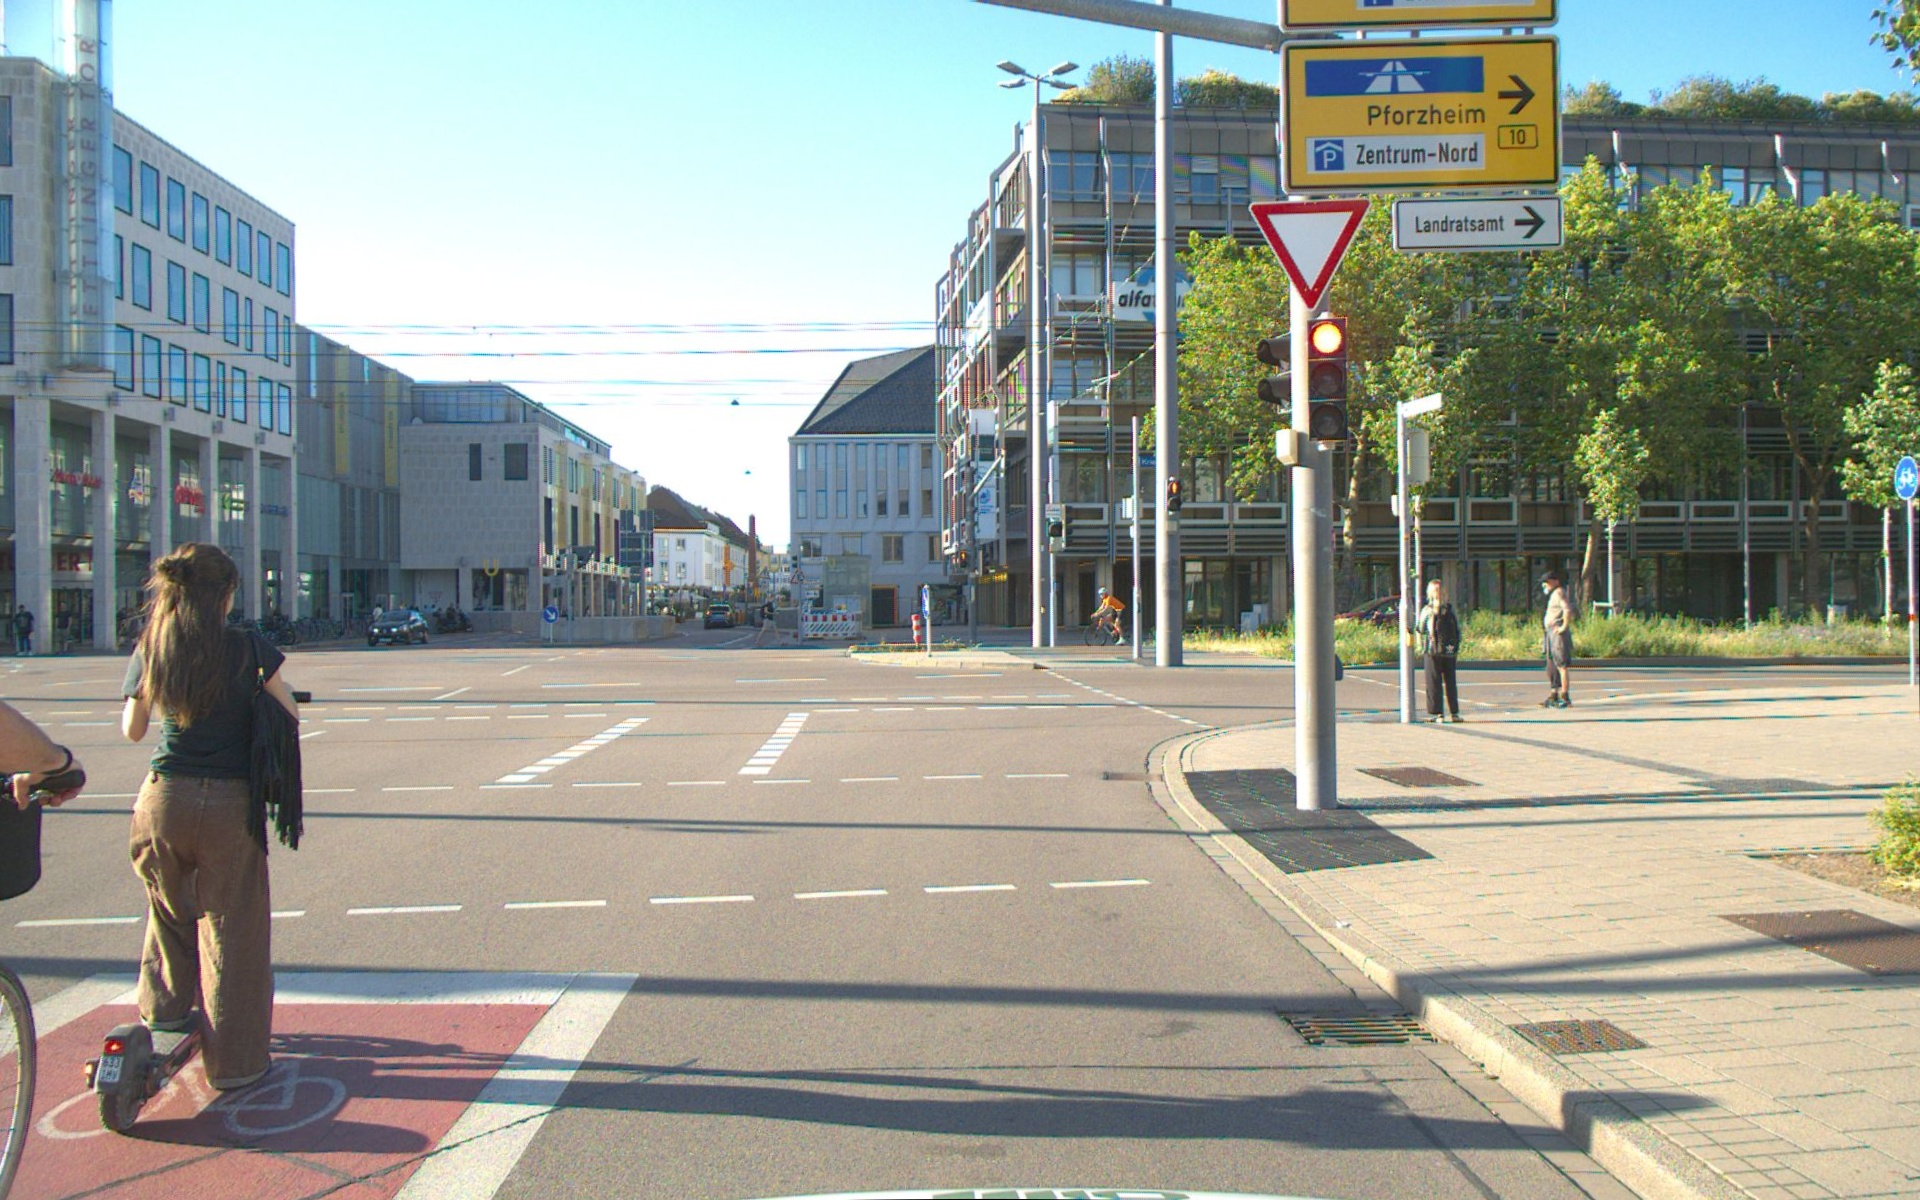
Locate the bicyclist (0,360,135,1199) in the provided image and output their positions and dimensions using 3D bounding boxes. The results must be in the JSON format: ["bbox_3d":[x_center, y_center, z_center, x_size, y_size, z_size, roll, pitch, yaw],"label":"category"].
[{"bbox_3d":[-1.976,0.460,2.848,0.647,1.750,0.865,1,-1,-1],"label":"bicyclist"}]

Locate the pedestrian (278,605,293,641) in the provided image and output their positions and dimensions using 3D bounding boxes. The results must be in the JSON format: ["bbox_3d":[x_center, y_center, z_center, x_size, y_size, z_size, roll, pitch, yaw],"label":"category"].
[{"bbox_3d":[-32.393,1.091,79.455,0.544,1.709,0.606,1,0,-11],"label":"pedestrian"}]

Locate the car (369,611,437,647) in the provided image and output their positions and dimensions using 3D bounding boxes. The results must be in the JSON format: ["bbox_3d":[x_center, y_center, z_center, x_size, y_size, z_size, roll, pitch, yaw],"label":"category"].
[{"bbox_3d":[-23.376,1.206,69.481,1.597,1.365,3.998,-3,0,-3],"label":"car"}]

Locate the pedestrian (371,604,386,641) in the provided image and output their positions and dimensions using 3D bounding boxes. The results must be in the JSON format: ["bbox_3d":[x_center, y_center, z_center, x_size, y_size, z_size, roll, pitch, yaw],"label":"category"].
[{"bbox_3d":[-27.843,1.072,79.248,0.639,1.749,0.447,0,0,-25],"label":"pedestrian"}]

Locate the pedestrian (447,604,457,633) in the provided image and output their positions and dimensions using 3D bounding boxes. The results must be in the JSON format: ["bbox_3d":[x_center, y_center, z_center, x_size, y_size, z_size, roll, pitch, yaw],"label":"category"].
[{"bbox_3d":[-30.096,1.073,98.075,0.512,1.709,0.581,1,0,-14],"label":"pedestrian"}]

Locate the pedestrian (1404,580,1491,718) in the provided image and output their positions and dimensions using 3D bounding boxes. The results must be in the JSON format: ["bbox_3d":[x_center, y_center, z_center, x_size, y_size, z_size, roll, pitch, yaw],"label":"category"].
[{"bbox_3d":[5.517,0.546,18.745,0.772,1.518,0.644,1,-1,-1],"label":"pedestrian"}]

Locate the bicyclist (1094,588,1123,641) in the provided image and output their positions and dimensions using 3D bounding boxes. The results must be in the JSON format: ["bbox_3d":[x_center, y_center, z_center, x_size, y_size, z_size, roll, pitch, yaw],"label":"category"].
[{"bbox_3d":[4.189,0.403,46.706,0.698,1.462,0.496,1,-1,-10],"label":"bicyclist"}]

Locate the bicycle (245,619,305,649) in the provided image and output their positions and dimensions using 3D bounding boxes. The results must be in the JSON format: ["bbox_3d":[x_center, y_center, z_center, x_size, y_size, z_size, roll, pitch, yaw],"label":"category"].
[{"bbox_3d":[-29.288,1.436,70.753,2.260,1.244,0.611,0,0,-3],"label":"bicycle"}]

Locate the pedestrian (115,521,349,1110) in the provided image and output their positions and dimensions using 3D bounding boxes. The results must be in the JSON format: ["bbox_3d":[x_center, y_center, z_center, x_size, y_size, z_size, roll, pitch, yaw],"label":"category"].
[{"bbox_3d":[-2.186,0.612,5.024,0.540,1.661,0.569,1,-1,-16],"label":"pedestrian"}]

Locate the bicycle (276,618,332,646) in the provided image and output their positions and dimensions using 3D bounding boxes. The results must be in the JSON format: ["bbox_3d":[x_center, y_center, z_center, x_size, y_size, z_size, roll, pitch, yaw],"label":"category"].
[{"bbox_3d":[-29.602,1.447,74.694,2.260,1.244,0.611,0,0,-3],"label":"bicycle"}]

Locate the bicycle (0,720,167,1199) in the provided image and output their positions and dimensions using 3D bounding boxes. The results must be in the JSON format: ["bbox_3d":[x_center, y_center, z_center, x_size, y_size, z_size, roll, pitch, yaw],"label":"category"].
[{"bbox_3d":[-2.080,0.864,2.923,0.475,1.176,1.831,1,0,-1],"label":"bicycle"}]

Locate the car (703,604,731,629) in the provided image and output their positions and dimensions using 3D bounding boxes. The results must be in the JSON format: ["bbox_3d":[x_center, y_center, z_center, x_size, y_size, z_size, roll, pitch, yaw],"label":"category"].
[{"bbox_3d":[-15.822,1.057,107.942,1.705,1.558,3.849,1,0,-8],"label":"car"}]

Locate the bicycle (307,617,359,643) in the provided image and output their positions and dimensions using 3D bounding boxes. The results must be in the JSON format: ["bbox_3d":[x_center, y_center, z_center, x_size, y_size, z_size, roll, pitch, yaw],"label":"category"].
[{"bbox_3d":[-30.332,1.458,80.048,2.260,1.244,0.611,0,0,-3],"label":"bicycle"}]

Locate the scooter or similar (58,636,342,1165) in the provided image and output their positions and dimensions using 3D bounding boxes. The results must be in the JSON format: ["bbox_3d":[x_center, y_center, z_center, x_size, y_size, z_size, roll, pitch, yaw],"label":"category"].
[{"bbox_3d":[-2.176,0.781,4.856,0.538,1.316,1.189,1,0,-15],"label":"scooter or similar"}]

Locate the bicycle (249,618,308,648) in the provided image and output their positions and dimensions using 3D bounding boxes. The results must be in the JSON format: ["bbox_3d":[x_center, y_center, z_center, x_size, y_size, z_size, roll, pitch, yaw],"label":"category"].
[{"bbox_3d":[-29.502,1.436,71.630,2.260,1.244,0.611,0,0,-3],"label":"bicycle"}]

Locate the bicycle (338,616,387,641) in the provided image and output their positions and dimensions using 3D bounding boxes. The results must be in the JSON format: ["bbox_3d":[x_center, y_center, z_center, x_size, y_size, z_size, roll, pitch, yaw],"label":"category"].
[{"bbox_3d":[-30.813,1.473,85.335,2.260,1.244,0.611,0,0,-3],"label":"bicycle"}]

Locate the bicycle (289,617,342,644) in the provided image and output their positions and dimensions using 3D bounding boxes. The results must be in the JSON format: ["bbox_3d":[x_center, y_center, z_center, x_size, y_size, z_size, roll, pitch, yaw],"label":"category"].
[{"bbox_3d":[-30.712,1.446,78.815,2.260,1.244,0.611,0,0,-3],"label":"bicycle"}]

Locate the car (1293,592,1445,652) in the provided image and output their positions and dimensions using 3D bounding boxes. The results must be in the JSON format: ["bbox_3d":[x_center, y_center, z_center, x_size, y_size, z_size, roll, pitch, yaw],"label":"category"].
[{"bbox_3d":[11.423,0.602,46.281,3.812,1.613,1.656,-1,0,-8],"label":"car"}]

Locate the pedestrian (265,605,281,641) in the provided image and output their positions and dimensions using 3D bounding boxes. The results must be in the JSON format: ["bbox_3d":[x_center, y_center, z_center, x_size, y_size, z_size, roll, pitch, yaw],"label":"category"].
[{"bbox_3d":[-32.961,1.103,79.351,0.560,1.709,0.614,1,0,-10],"label":"pedestrian"}]

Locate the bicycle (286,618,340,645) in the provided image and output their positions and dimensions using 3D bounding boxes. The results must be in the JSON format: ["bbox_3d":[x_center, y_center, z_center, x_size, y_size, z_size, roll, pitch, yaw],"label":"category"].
[{"bbox_3d":[-30.062,1.449,76.845,2.260,1.244,0.611,0,0,-3],"label":"bicycle"}]

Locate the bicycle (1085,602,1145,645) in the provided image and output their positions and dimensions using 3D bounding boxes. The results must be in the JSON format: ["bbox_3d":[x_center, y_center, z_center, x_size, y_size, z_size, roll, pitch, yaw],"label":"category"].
[{"bbox_3d":[4.378,0.660,46.742,1.615,1.175,0.496,1,-1,-10],"label":"bicycle"}]

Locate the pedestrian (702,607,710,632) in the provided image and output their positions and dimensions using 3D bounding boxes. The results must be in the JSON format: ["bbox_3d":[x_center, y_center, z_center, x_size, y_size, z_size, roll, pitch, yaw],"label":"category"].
[{"bbox_3d":[-17.903,1.360,116.783,0.511,1.709,0.582,1,0,-8],"label":"pedestrian"}]

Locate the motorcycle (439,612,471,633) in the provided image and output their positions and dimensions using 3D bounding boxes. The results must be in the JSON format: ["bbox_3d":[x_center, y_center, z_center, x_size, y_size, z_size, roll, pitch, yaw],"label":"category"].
[{"bbox_3d":[-29.758,1.327,97.472,1.775,1.228,0.509,1,0,-16],"label":"motorcycle"}]

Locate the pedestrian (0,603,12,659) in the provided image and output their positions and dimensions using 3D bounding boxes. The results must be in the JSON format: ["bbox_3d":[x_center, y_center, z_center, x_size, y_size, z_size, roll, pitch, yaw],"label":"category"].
[{"bbox_3d":[-32.998,1.051,56.804,0.706,1.918,0.780,1,-1,-28],"label":"pedestrian"}]

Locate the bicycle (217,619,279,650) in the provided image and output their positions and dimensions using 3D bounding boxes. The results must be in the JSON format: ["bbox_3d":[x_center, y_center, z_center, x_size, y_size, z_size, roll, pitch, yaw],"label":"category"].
[{"bbox_3d":[-29.331,1.424,68.113,2.260,1.244,0.611,0,0,-3],"label":"bicycle"}]

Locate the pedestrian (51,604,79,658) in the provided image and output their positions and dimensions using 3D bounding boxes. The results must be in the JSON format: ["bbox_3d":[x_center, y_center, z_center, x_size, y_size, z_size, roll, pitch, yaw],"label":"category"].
[{"bbox_3d":[-31.169,1.069,57.600,0.788,1.876,0.854,0,0,-33],"label":"pedestrian"}]

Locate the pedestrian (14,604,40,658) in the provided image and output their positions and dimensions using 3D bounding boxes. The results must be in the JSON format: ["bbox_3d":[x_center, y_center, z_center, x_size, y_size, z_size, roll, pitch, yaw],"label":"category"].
[{"bbox_3d":[-32.860,1.077,58.260,0.787,1.876,0.856,0,0,-29],"label":"pedestrian"}]

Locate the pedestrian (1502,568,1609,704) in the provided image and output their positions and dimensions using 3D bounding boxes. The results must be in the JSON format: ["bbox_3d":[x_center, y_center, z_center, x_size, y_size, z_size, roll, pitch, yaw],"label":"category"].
[{"bbox_3d":[7.634,0.452,21.217,0.866,1.694,0.958,1,-1,-22],"label":"pedestrian"}]

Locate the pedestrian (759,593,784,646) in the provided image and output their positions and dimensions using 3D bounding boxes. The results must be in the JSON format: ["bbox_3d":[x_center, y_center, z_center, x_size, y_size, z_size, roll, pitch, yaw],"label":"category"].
[{"bbox_3d":[-6.937,0.712,60.910,0.628,1.923,0.791,1,-1,14],"label":"pedestrian"}]

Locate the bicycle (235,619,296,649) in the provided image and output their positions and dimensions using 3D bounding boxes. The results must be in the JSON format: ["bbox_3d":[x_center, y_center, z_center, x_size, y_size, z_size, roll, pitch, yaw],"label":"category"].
[{"bbox_3d":[-29.124,1.433,69.399,2.260,1.244,0.611,0,0,-3],"label":"bicycle"}]

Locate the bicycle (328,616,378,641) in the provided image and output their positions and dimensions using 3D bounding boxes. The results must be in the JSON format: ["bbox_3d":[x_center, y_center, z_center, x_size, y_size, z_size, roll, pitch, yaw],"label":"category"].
[{"bbox_3d":[-30.925,1.466,84.264,2.260,1.244,0.611,0,0,-3],"label":"bicycle"}]
